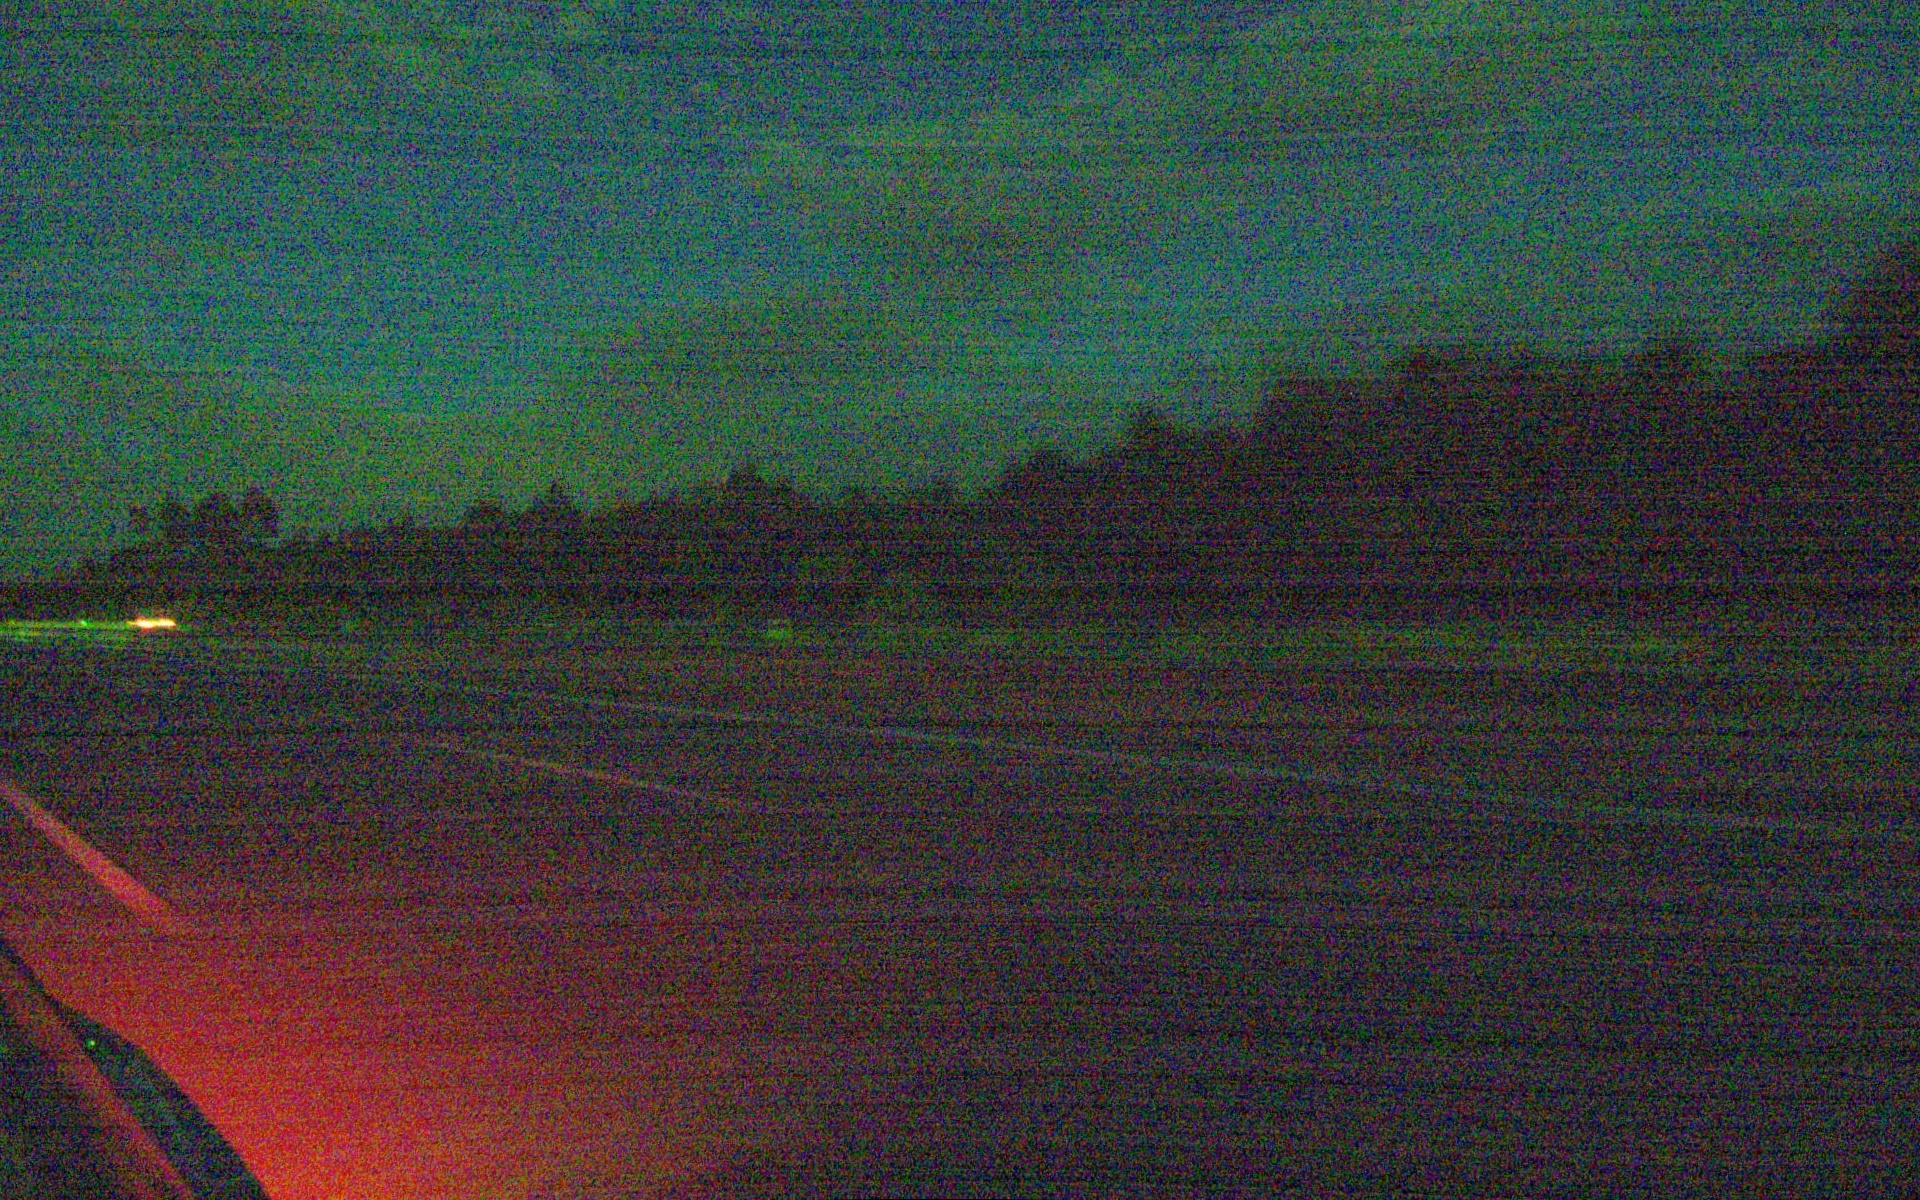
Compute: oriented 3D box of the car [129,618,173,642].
[{"bbox_3d":[-71.513,2.598,89.447,5.182,2.029,2.006,-1,-1,40],"label":"car"}]
